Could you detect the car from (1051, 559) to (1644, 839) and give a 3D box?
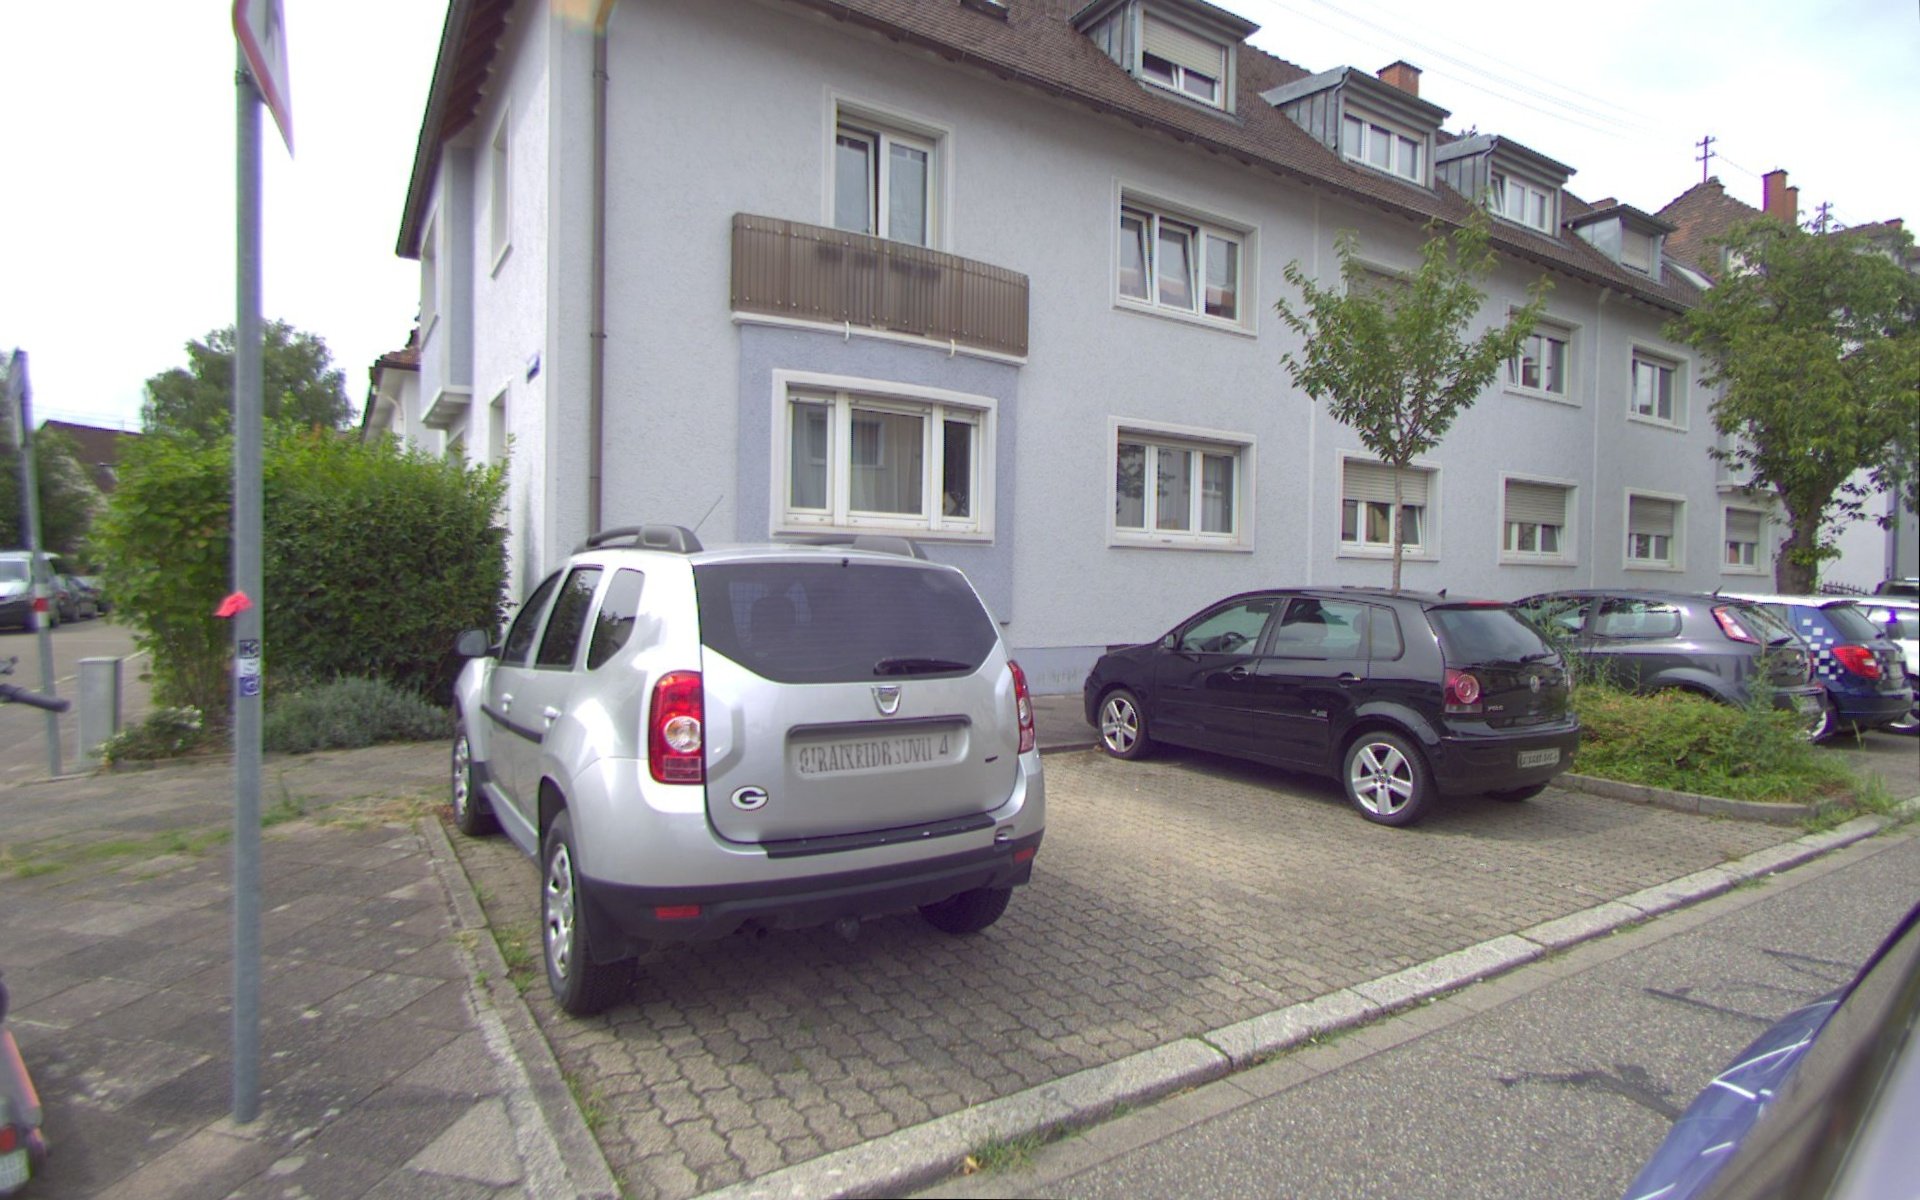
[{"bbox_3d":[2.592,0.484,7.754,1.679,1.439,4.005,0,4,-32],"label":"car"}]

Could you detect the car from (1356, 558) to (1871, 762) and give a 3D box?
[{"bbox_3d":[6.303,0.410,10.268,1.679,1.526,4.005,0,4,-32],"label":"car"}]

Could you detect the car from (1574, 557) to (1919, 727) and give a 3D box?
[{"bbox_3d":[10.277,0.412,12.095,1.855,1.684,4.636,0,3,-31],"label":"car"}]

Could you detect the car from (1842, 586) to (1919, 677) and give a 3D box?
[{"bbox_3d":[17.332,0.601,16.850,1.740,1.472,3.638,0,4,-36],"label":"car"}]

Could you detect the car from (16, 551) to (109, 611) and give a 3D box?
[{"bbox_3d":[-29.480,-0.657,33.364,1.722,1.848,4.297,0,2,-34],"label":"car"}]

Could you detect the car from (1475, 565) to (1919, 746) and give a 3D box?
[{"bbox_3d":[8.248,0.452,11.413,1.679,1.526,4.005,0,4,-32],"label":"car"}]

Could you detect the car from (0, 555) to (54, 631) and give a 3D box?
[{"bbox_3d":[-24.602,-0.187,25.703,1.772,1.816,3.816,-3,4,-34],"label":"car"}]

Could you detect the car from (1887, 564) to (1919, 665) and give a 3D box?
[{"bbox_3d":[19.661,0.401,17.807,1.757,1.880,4.548,0,3,-30],"label":"car"}]

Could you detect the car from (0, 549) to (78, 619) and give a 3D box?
[{"bbox_3d":[-27.080,-0.493,29.487,1.631,1.927,3.816,0,2,-34],"label":"car"}]

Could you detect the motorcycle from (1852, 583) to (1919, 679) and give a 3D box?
[{"bbox_3d":[15.660,0.504,15.577,1.012,1.482,2.709,0,2,-36],"label":"motorcycle"}]

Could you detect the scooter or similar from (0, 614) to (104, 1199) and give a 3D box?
[{"bbox_3d":[-2.535,0.713,2.607,0.415,1.258,1.240,-1,4,-44],"label":"scooter or similar"}]

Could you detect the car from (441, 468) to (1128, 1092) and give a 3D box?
[{"bbox_3d":[-1.232,0.418,4.837,1.831,1.653,3.939,0,2,-33],"label":"car"}]
